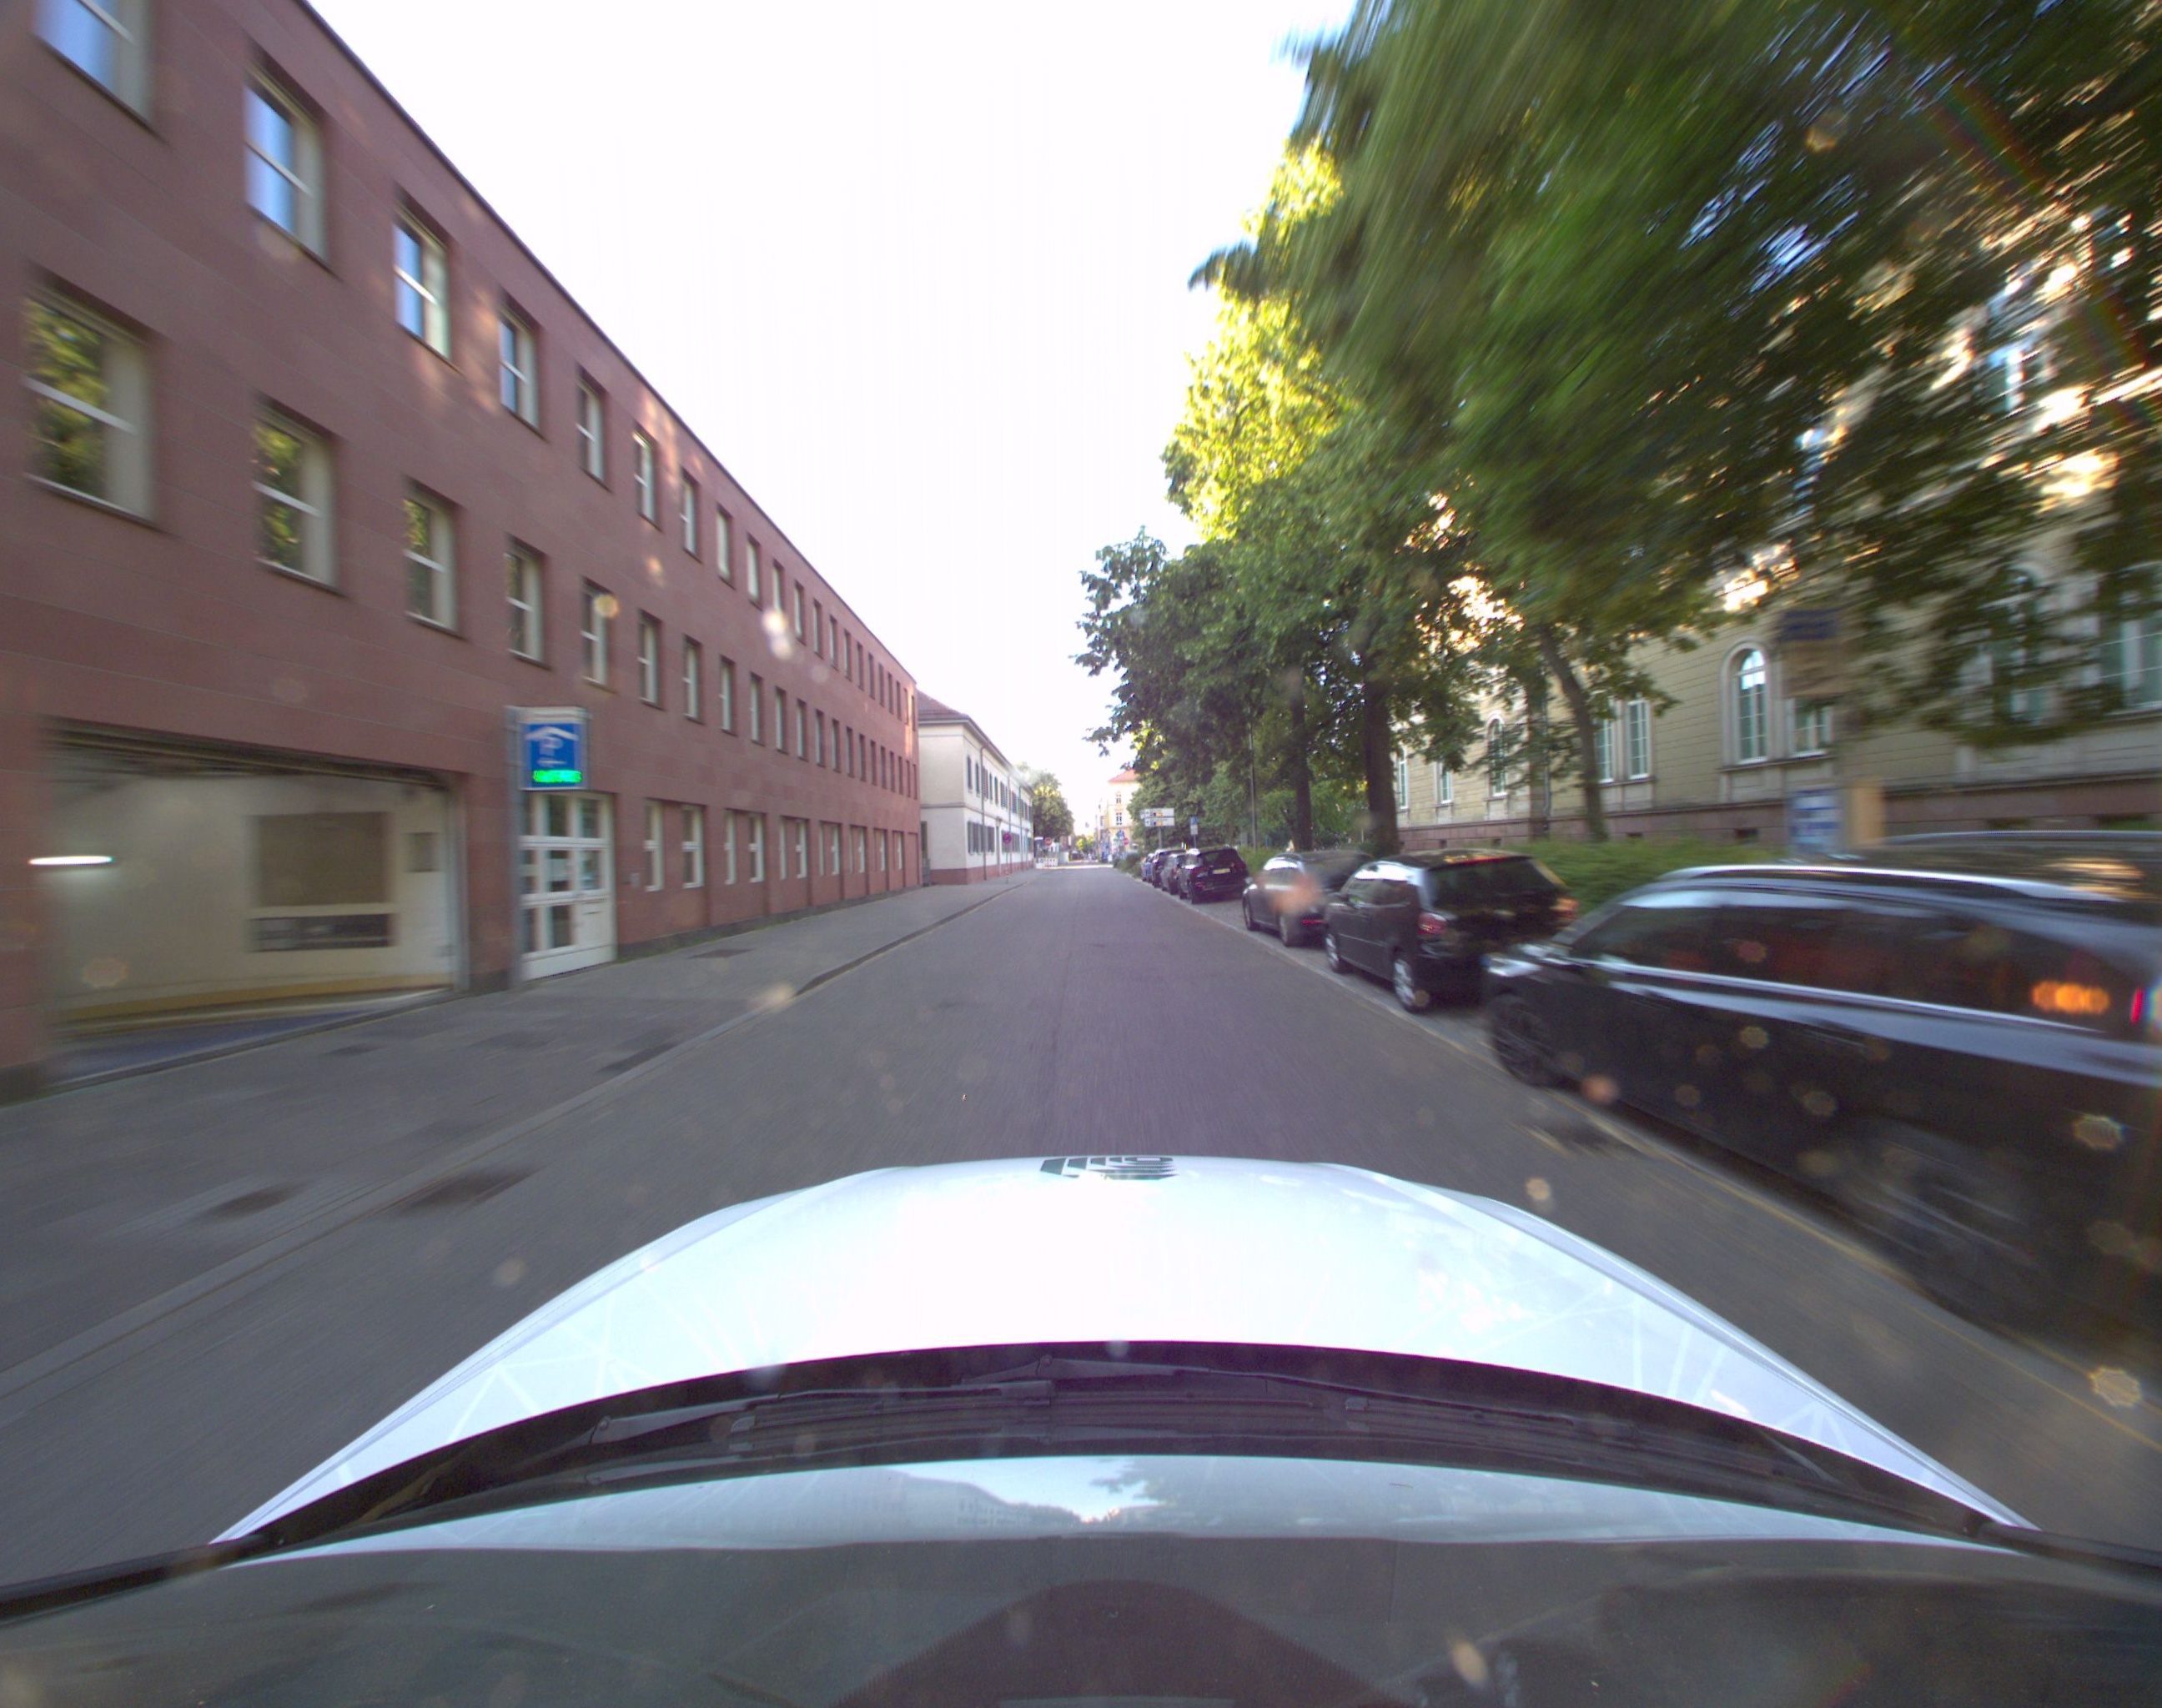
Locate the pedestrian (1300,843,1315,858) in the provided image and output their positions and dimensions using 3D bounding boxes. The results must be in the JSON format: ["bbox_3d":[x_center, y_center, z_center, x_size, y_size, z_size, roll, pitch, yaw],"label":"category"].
[{"bbox_3d":[20.167,-0.309,72.567,0.918,1.347,0.880,-2,0,-16],"label":"pedestrian"}]

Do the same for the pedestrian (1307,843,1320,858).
[{"bbox_3d":[20.899,-0.302,73.213,0.760,1.347,0.783,-2,0,-16],"label":"pedestrian"}]

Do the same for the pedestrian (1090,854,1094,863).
[{"bbox_3d":[1.954,0.806,147.687,0.655,1.617,0.745,-2,0,0],"label":"pedestrian"}]

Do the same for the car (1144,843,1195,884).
[{"bbox_3d":[3.883,0.440,36.587,1.718,1.651,4.712,-2,-1,0],"label":"car"}]

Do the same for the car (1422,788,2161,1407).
[{"bbox_3d":[3.590,0.603,4.029,1.719,1.533,4.622,-7,-1,0],"label":"car"}]

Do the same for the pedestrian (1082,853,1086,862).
[{"bbox_3d":[0.463,0.652,149.679,0.655,1.760,0.745,-2,0,1],"label":"pedestrian"}]

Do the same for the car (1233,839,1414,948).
[{"bbox_3d":[3.953,0.602,14.107,1.729,1.506,4.521,-3,-1,0],"label":"car"}]

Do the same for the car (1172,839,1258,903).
[{"bbox_3d":[4.077,0.473,25.536,1.801,1.651,4.418,-6,1,0],"label":"car"}]

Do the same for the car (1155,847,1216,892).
[{"bbox_3d":[3.909,0.569,30.947,1.718,1.538,4.188,-3,-1,0],"label":"car"}]

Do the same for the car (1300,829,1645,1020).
[{"bbox_3d":[3.865,0.613,8.956,1.718,1.533,4.188,-3,-1,0],"label":"car"}]

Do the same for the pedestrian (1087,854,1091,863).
[{"bbox_3d":[1.519,0.812,149.754,0.655,1.635,0.745,-2,0,0],"label":"pedestrian"}]

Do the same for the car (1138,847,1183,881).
[{"bbox_3d":[4.110,0.507,42.645,1.719,1.488,4.608,-6,0,-1],"label":"car"}]

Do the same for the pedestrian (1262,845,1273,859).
[{"bbox_3d":[16.284,-0.146,71.006,0.803,1.191,0.790,-2,0,3],"label":"pedestrian"}]
